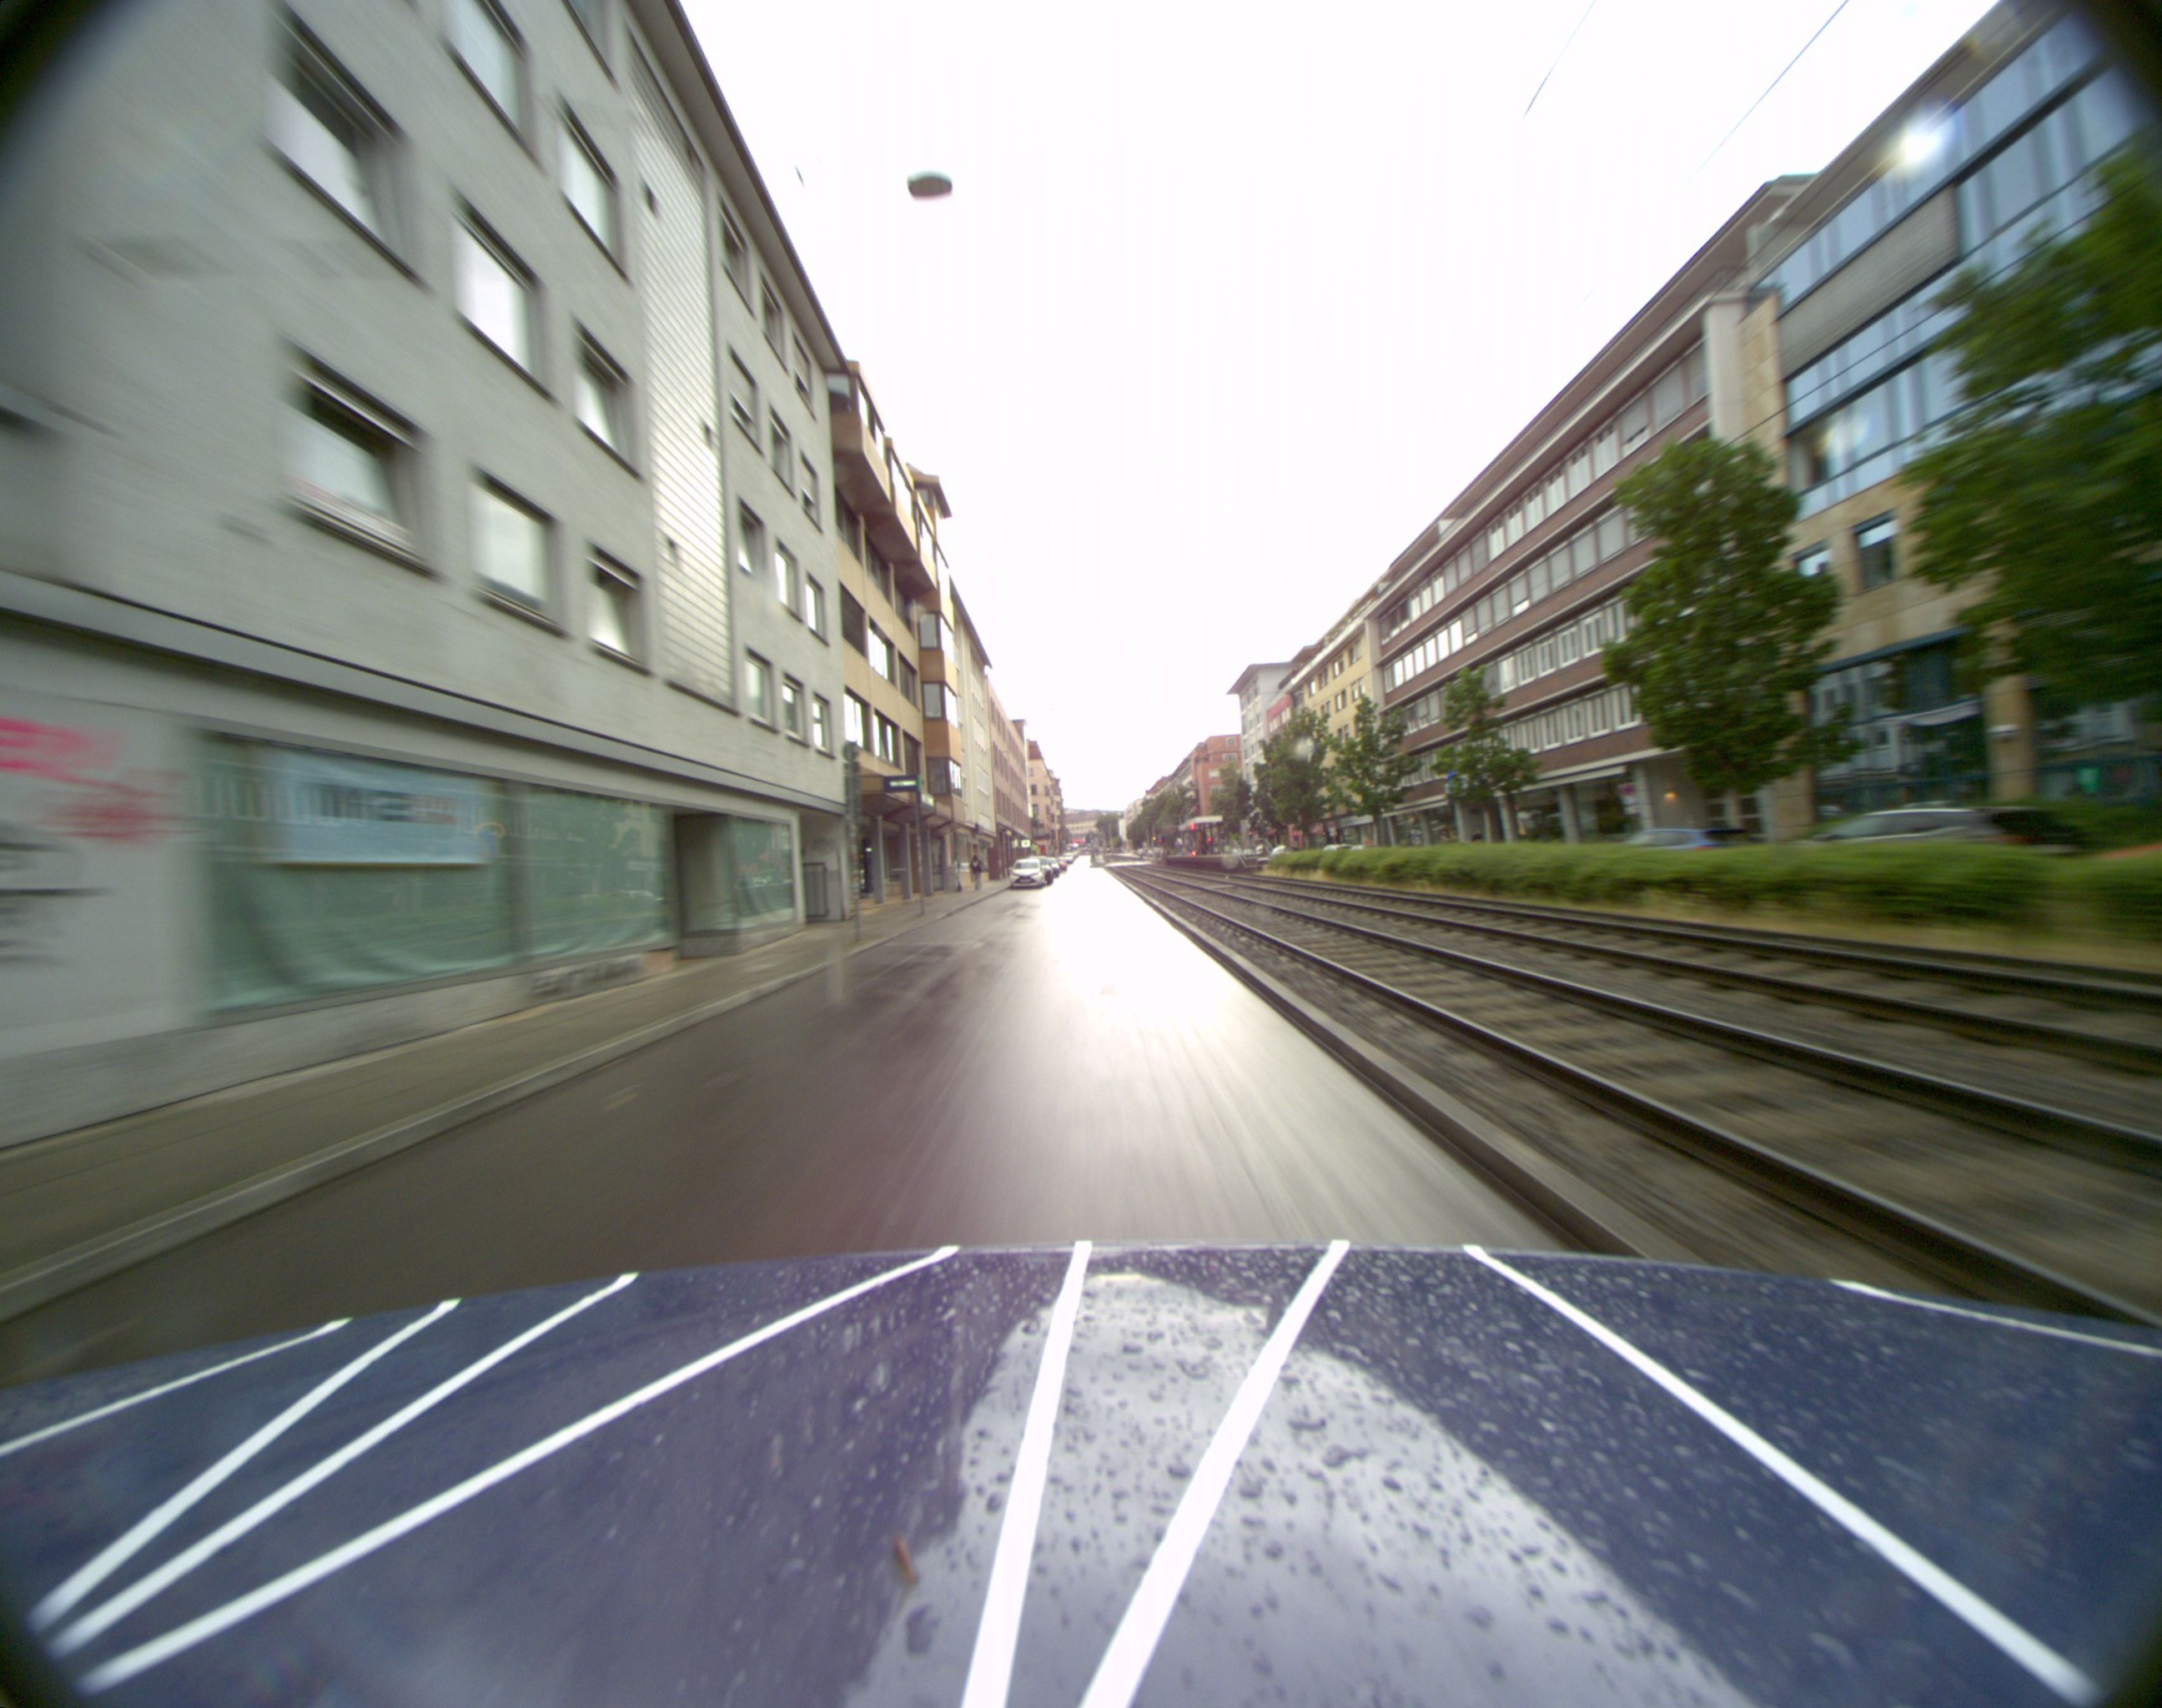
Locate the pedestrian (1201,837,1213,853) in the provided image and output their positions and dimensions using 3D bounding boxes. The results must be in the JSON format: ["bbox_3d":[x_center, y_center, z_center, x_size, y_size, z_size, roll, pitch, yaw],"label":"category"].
[{"bbox_3d":[10.307,-0.756,62.209,0.815,1.248,0.637,-3,1,-2],"label":"pedestrian"}]

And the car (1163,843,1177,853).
[{"bbox_3d":[16.512,-1.101,141.668,1.999,1.652,3.999,-3,1,0],"label":"car"}]

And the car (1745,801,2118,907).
[{"bbox_3d":[14.963,-0.001,13.873,1.653,1.531,4.622,-3,0,1],"label":"car"}]

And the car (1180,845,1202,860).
[{"bbox_3d":[13.275,-0.175,92.232,1.999,1.652,4.000,-3,0,0],"label":"car"}]

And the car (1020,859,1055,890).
[{"bbox_3d":[-2.483,1.148,43.951,1.653,1.583,4.067,-3,0,1],"label":"car"}]

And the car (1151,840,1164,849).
[{"bbox_3d":[15.469,-1.953,153.561,1.999,1.652,4.000,-3,0,0],"label":"car"}]

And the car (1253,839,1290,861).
[{"bbox_3d":[15.745,-0.328,62.923,1.999,1.652,4.000,-3,0,0],"label":"car"}]

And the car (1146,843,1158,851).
[{"bbox_3d":[15.207,-1.516,162.894,1.999,1.652,4.000,-3,0,0],"label":"car"}]

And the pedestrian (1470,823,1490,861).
[{"bbox_3d":[20.158,-0.605,38.413,0.576,1.858,0.743,-3,1,1],"label":"pedestrian"}]

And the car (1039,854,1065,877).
[{"bbox_3d":[-2.187,0.865,58.411,1.653,1.583,4.067,-3,0,1],"label":"car"}]

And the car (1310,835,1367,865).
[{"bbox_3d":[15.464,-0.234,45.879,1.999,1.652,4.000,-3,0,0],"label":"car"}]

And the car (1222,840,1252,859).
[{"bbox_3d":[15.105,-0.412,73.715,1.999,1.652,4.000,-3,0,0],"label":"car"}]

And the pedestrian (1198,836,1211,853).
[{"bbox_3d":[10.213,-0.794,62.850,0.958,1.377,0.637,-3,1,-2],"label":"pedestrian"}]

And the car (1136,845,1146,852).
[{"bbox_3d":[15.263,-1.381,193.849,1.999,1.778,4.000,-3,0,0],"label":"car"}]

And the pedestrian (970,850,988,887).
[{"bbox_3d":[-4.767,0.685,35.619,0.640,1.690,0.883,-3,1,1],"label":"pedestrian"}]

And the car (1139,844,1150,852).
[{"bbox_3d":[14.778,-1.405,176.828,1.999,1.778,4.163,-3,0,0],"label":"car"}]

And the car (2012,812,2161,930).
[{"bbox_3d":[14.876,0.188,9.161,1.653,1.531,4.622,-3,0,1],"label":"car"}]

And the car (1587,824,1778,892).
[{"bbox_3d":[15.096,0.097,19.388,1.653,1.489,4.067,-3,0,1],"label":"car"}]

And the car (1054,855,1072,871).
[{"bbox_3d":[-1.918,0.921,81.505,1.653,1.583,4.067,-3,0,1],"label":"car"}]

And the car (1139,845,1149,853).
[{"bbox_3d":[14.997,-1.264,182.043,1.999,1.778,4.000,-3,0,0],"label":"car"}]

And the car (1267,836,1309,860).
[{"bbox_3d":[15.515,-0.432,57.150,1.999,1.652,4.000,-3,0,0],"label":"car"}]

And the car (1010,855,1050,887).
[{"bbox_3d":[-2.604,0.854,39.284,1.653,1.489,4.067,-3,0,1],"label":"car"}]

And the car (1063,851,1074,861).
[{"bbox_3d":[-2.073,0.374,128.902,1.653,1.583,4.067,-3,0,1],"label":"car"}]

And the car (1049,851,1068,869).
[{"bbox_3d":[-2.158,0.577,73.602,1.653,1.583,4.067,-3,0,1],"label":"car"}]
